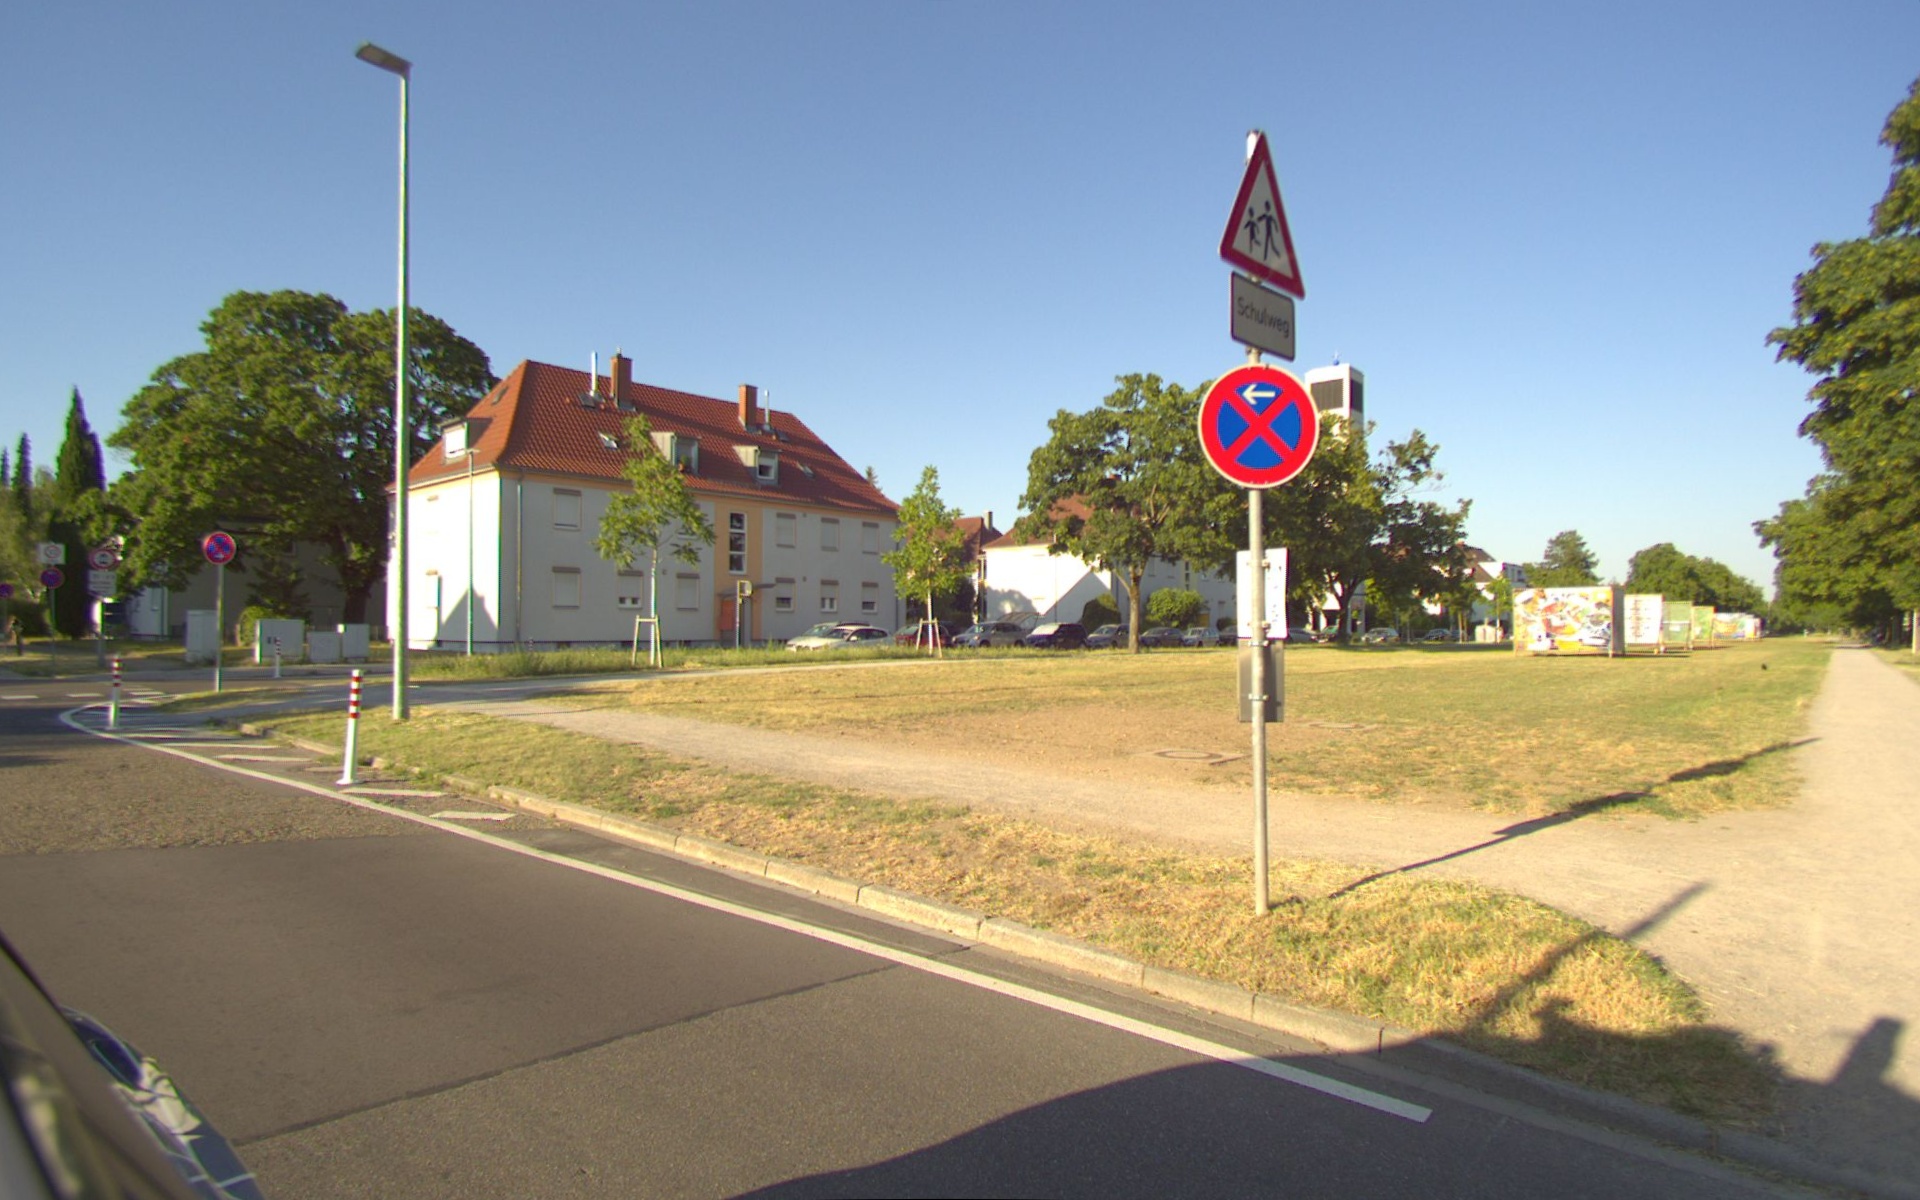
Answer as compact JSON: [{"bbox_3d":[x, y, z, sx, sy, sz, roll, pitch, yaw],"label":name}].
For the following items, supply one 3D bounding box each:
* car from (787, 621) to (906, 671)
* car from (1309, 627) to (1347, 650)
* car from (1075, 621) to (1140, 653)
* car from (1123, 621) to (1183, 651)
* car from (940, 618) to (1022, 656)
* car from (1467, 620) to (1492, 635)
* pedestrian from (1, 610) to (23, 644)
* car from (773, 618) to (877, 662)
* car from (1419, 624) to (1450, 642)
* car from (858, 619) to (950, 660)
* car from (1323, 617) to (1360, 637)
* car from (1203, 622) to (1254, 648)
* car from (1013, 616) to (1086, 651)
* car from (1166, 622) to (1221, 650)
[{"bbox_3d":[-4.091,1.664,37.015,1.869,1.708,4.243,-3,-3,39],"label":"car"},{"bbox_3d":[29.366,3.064,80.700,1.806,1.730,3.299,0,-1,41],"label":"car"},{"bbox_3d":[8.313,2.073,56.890,1.849,1.708,3.947,-3,-3,39],"label":"car"},{"bbox_3d":[11.663,2.174,60.989,1.849,1.708,3.947,-3,-3,39],"label":"car"},{"bbox_3d":[1.043,1.759,48.280,1.849,1.708,3.947,-3,-3,39],"label":"car"},{"bbox_3d":[63.328,3.360,123.262,1.849,1.708,3.947,-3,-3,39],"label":"car"},{"bbox_3d":[-57.662,1.653,61.556,0.692,2.029,0.886,-1,-2,41],"label":"pedestrian"},{"bbox_3d":[-5.431,1.611,41.033,1.849,1.708,3.947,-3,-3,39],"label":"car"},{"bbox_3d":[48.048,3.346,102.443,1.849,1.708,3.947,-3,-3,39],"label":"car"},{"bbox_3d":[-2.441,1.729,44.616,1.849,1.708,3.947,-3,-3,39],"label":"car"},{"bbox_3d":[33.827,2.421,89.685,1.849,1.708,3.947,-3,-3,39],"label":"car"},{"bbox_3d":[18.222,2.354,68.586,1.849,1.708,3.947,-3,-3,39],"label":"car"},{"bbox_3d":[4.688,1.747,52.633,1.849,1.708,3.947,-3,-3,39],"label":"car"},{"bbox_3d":[14.944,2.315,64.661,1.849,1.708,3.947,-3,-3,39],"label":"car"}]
